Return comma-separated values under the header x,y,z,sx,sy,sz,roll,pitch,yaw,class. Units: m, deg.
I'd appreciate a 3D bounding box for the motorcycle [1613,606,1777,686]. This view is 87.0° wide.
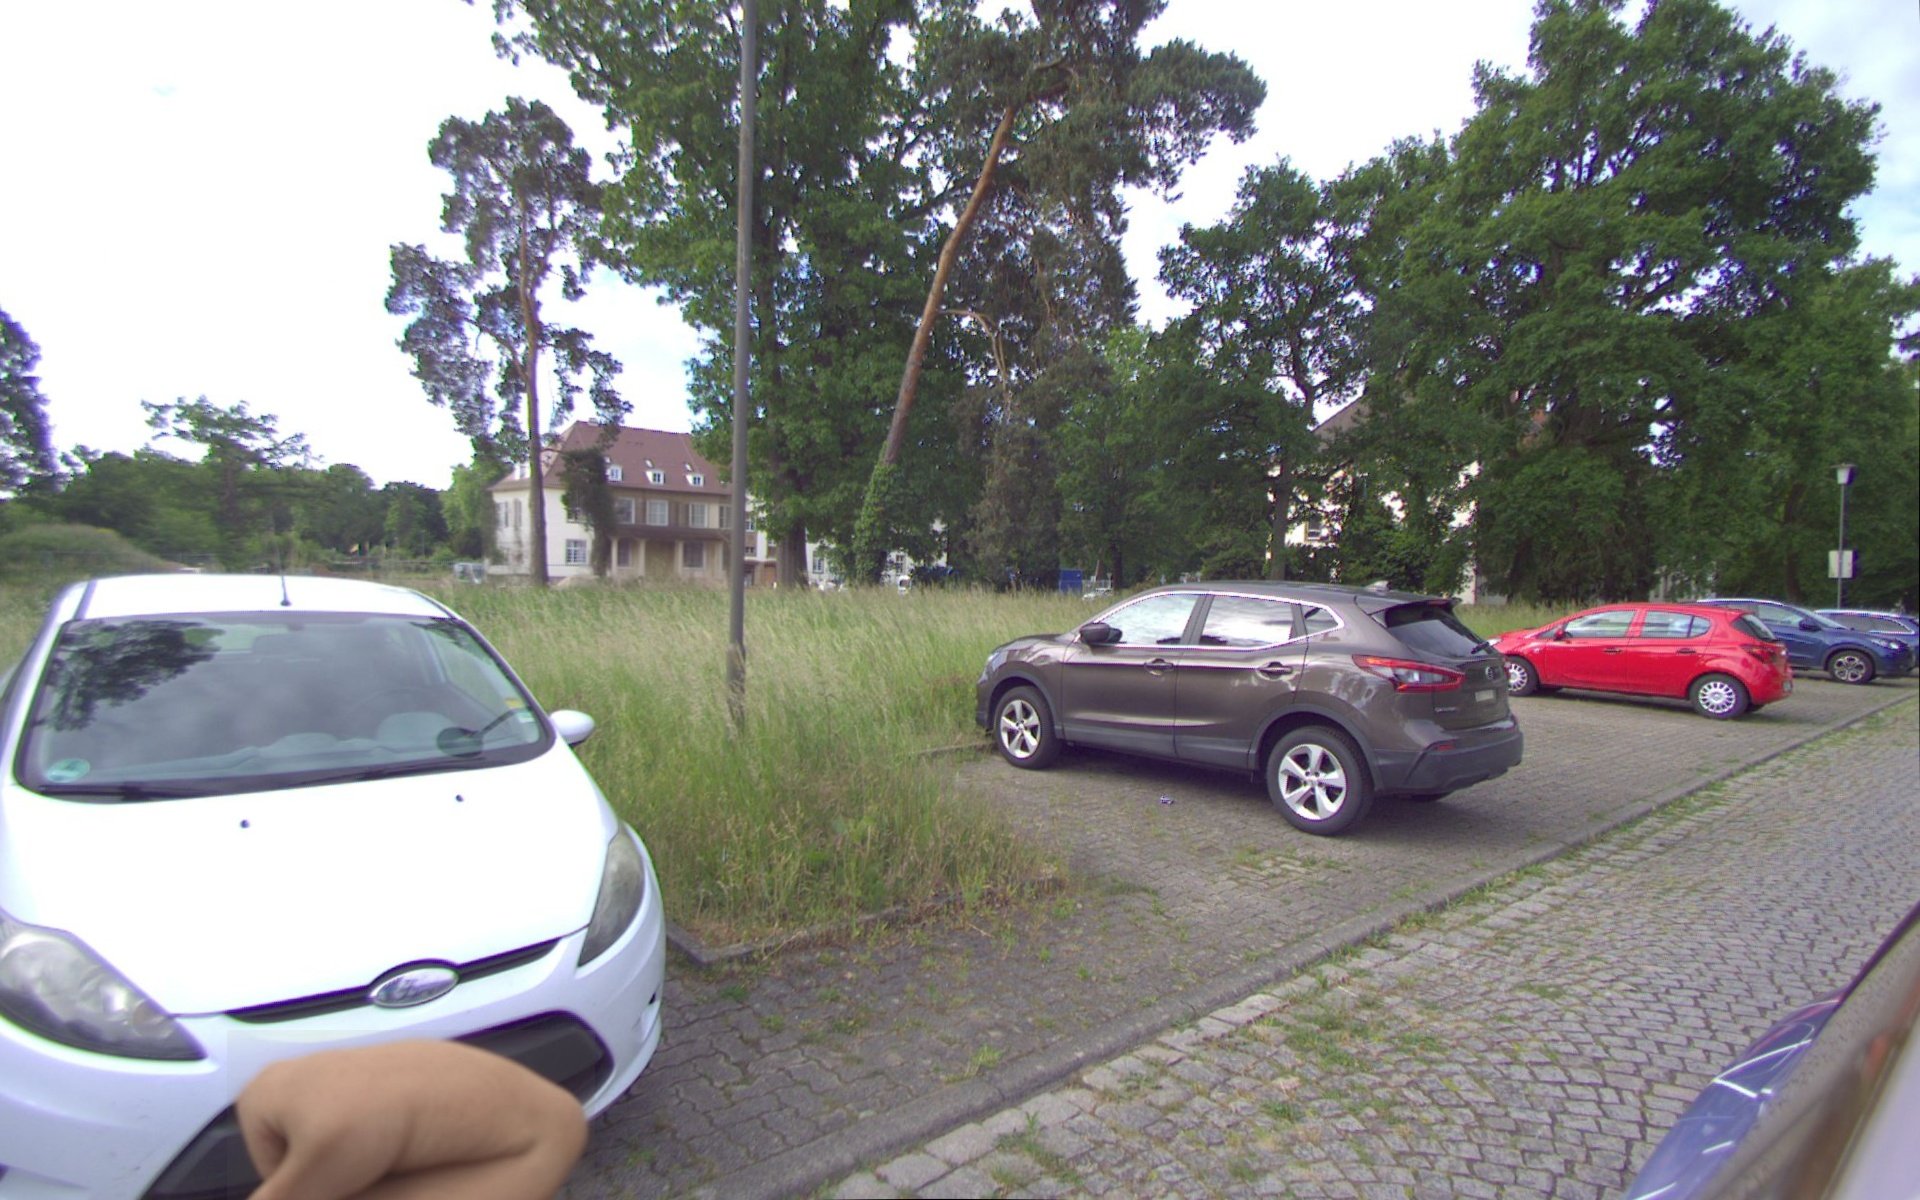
x,y,z,sx,sy,sz,roll,pitch,yaw,class
12.860,0.771,17.781,0.558,1.216,2.234,1,2,-42,motorcycle

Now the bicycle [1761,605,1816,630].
x,y,z,sx,sy,sz,roll,pitch,yaw,class
39.373,0.833,48.104,1.919,1.185,0.484,0,0,25,bicycle

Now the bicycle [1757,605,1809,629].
x,y,z,sx,sy,sz,roll,pitch,yaw,class
40.645,0.829,50.023,1.921,1.185,0.483,0,0,28,bicycle

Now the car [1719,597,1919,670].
x,y,z,sx,sy,sz,roll,pitch,yaw,class
21.052,0.760,24.143,1.891,1.457,4.369,1,2,-38,car

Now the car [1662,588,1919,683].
x,y,z,sx,sy,sz,roll,pitch,yaw,class
17.478,0.656,21.160,1.854,1.643,4.252,1,2,-42,car

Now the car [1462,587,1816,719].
x,y,z,sx,sy,sz,roll,pitch,yaw,class
9.698,0.654,14.685,1.754,1.515,3.930,1,2,-42,car

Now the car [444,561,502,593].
x,y,z,sx,sy,sz,roll,pitch,yaw,class
-42.583,-1.960,88.434,5.650,2.674,2.247,0,0,38,car

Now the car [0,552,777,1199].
x,y,z,sx,sy,sz,roll,pitch,yaw,class
-2.526,0.623,3.687,1.693,1.497,4.103,1,2,-43,car

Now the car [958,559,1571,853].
x,y,z,sx,sy,sz,roll,pitch,yaw,class
2.120,0.545,7.968,1.920,1.614,4.210,1,2,-42,car

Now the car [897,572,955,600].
x,y,z,sx,sy,sz,roll,pitch,yaw,class
-2.944,-1.211,87.640,4.853,2.333,1.921,1,1,-41,car
